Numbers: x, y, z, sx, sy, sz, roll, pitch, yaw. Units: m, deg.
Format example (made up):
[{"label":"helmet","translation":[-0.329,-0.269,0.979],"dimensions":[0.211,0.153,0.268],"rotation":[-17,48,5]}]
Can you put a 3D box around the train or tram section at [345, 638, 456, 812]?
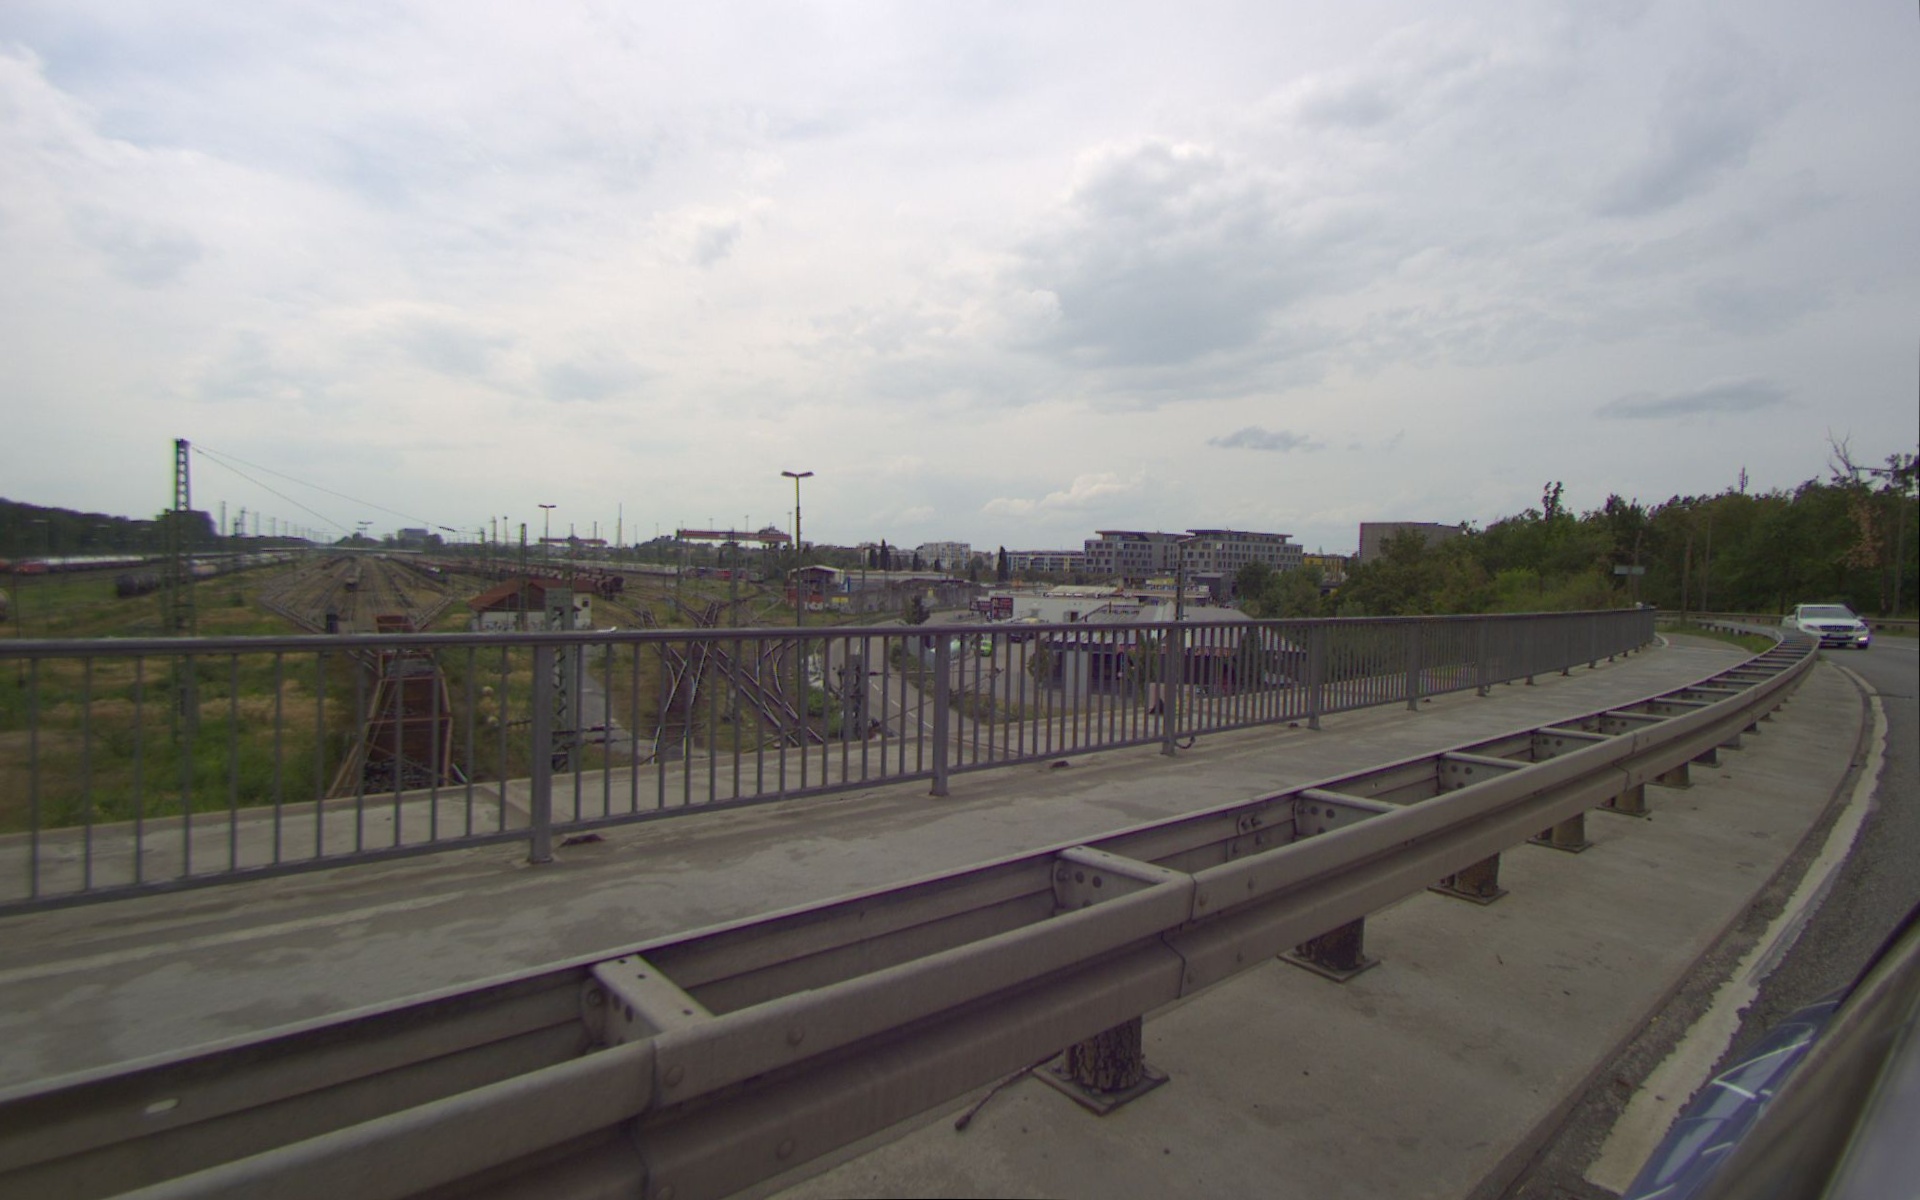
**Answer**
[{"label":"train or tram section","translation":[-23.984,4.786,43.833],"dimensions":[3.584,5.669,14.278],"rotation":[0,0,-28]}]

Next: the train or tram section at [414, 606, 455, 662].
[{"label":"train or tram section","translation":[-61.232,3.677,118.336],"dimensions":[3.911,5.549,25.732],"rotation":[0,0,-27]}]

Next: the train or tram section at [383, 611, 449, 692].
[{"label":"train or tram section","translation":[-44.938,3.930,84.192],"dimensions":[3.878,5.713,18.306],"rotation":[0,0,-25]}]

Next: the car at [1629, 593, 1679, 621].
[{"label":"car","translation":[45.057,0.459,65.784],"dimensions":[1.943,1.726,4.393],"rotation":[0,-1,25]}]

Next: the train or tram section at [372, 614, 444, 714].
[{"label":"train or tram section","translation":[-37.505,4.014,69.135],"dimensions":[3.896,5.748,15.036],"rotation":[0,0,-28]}]

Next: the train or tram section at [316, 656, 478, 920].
[{"label":"train or tram section","translation":[-17.526,4.996,31.758],"dimensions":[3.578,5.644,13.668],"rotation":[0,0,-29]}]

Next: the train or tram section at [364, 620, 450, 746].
[{"label":"train or tram section","translation":[-30.631,4.181,56.233],"dimensions":[3.766,5.749,13.927],"rotation":[0,0,-28]}]

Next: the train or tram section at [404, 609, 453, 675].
[{"label":"train or tram section","translation":[-52.167,3.867,99.678],"dimensions":[3.726,5.695,15.589],"rotation":[0,0,-26]}]

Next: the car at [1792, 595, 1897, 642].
[{"label":"car","translation":[29.313,0.619,33.674],"dimensions":[1.923,1.475,3.843],"rotation":[-1,-1,31]}]
